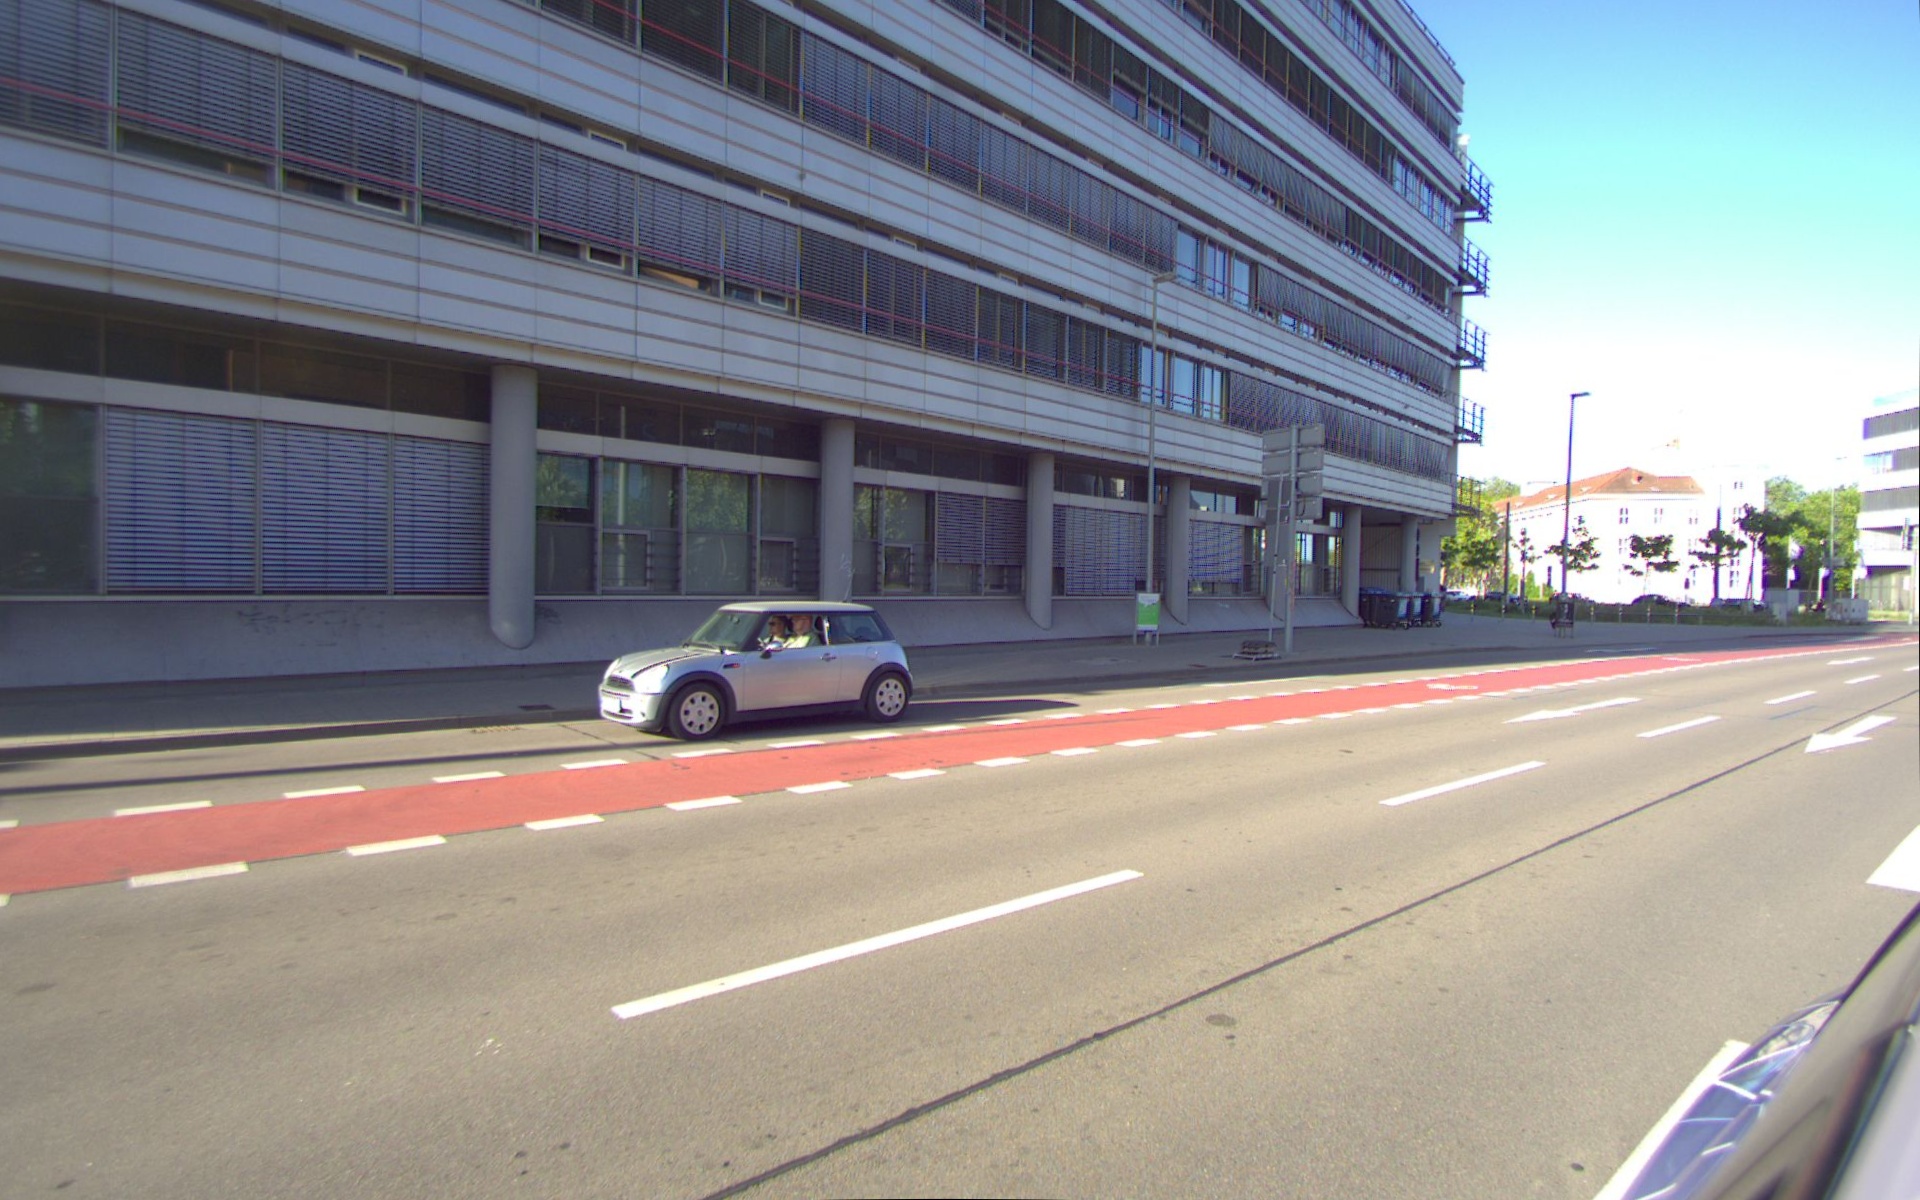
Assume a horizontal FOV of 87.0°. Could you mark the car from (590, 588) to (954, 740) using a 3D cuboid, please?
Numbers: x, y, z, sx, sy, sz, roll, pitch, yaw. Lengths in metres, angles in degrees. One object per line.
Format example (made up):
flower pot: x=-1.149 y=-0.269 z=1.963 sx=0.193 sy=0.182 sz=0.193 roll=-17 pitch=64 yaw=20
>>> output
car: x=-2.028 y=0.609 z=11.622 sx=3.930 sy=1.464 sz=1.438 roll=0 pitch=0 yaw=-41

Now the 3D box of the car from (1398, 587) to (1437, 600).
car: x=52.075 y=-0.735 z=115.232 sx=1.894 sy=1.393 sz=4.009 roll=0 pitch=1 yaw=-17

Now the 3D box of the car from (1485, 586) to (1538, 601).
car: x=56.042 y=-0.665 z=102.877 sx=1.958 sy=1.439 sz=4.536 roll=0 pitch=1 yaw=-22

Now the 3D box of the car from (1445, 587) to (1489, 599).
car: x=54.187 y=-0.765 z=108.272 sx=1.958 sy=1.259 sz=4.009 roll=0 pitch=1 yaw=-19

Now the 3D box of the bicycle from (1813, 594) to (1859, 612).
bicycle: x=64.885 y=0.212 z=75.007 sx=0.932 sy=1.328 sz=2.376 roll=0 pitch=1 yaw=-27

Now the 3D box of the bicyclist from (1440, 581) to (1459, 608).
bicyclist: x=30.369 y=-0.323 z=62.768 sx=0.973 sy=1.638 sz=0.685 roll=0 pitch=1 yaw=-39

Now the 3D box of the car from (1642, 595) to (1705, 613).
car: x=61.875 y=0.317 z=87.796 sx=1.958 sy=1.439 sz=4.009 roll=0 pitch=1 yaw=-21

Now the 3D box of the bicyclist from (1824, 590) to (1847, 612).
bicyclist: x=64.893 y=0.050 z=75.026 sx=0.862 sy=1.627 sz=1.009 roll=0 pitch=1 yaw=-27

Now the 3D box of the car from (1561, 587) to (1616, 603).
car: x=58.870 y=-0.465 z=94.854 sx=1.958 sy=1.439 sz=4.009 roll=0 pitch=1 yaw=-21

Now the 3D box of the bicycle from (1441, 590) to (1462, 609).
bicycle: x=30.470 y=-0.033 z=62.735 sx=1.672 sy=1.070 sz=0.505 roll=-1 pitch=4 yaw=-40
